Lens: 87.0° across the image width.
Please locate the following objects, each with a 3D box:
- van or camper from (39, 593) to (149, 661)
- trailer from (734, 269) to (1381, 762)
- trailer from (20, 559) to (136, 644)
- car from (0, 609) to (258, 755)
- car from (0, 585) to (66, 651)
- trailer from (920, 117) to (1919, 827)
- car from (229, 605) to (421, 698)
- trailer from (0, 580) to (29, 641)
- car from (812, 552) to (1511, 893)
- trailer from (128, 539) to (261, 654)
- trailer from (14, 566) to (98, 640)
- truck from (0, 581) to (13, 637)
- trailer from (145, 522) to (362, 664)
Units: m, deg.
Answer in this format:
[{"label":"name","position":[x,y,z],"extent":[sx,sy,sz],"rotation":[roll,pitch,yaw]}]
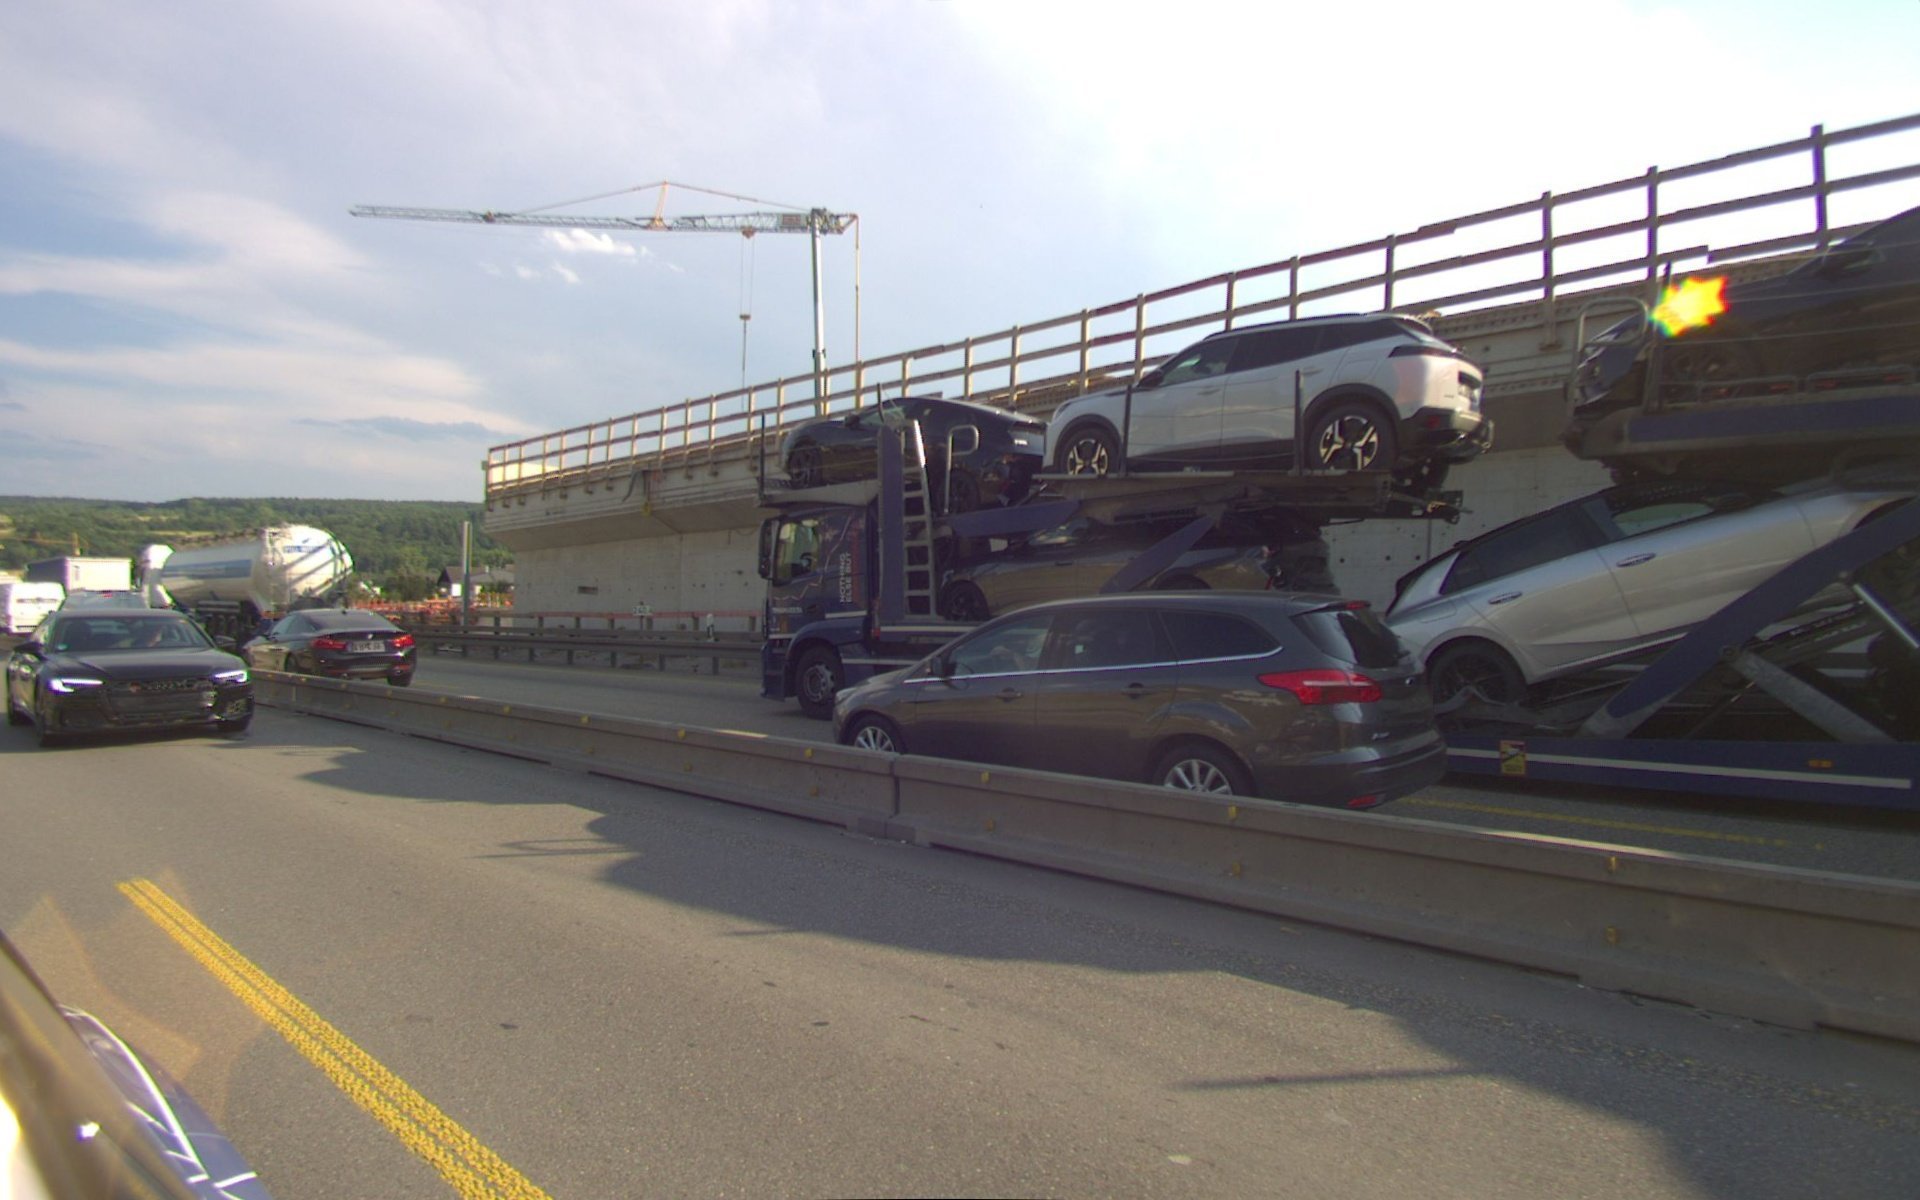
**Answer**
[{"label":"van or camper","position":[-27.968,0.826,32.603],"extent":[5.291,2.029,1.839],"rotation":[-1,0,40]},{"label":"trailer","position":[0.711,-0.684,11.743],"extent":[7.203,4.061,2.743],"rotation":[-1,0,41]},{"label":"trailer","position":[-47.355,0.118,54.103],"extent":[13.768,4.067,2.895],"rotation":[-1,0,41]},{"label":"car","position":[-10.098,0.831,12.045],"extent":[4.346,1.430,1.849],"rotation":[-1,-1,41]},{"label":"car","position":[-40.483,0.748,43.444],"extent":[7.403,2.642,1.974],"rotation":[-1,0,39]},{"label":"trailer","position":[6.435,-0.743,6.791],"extent":[15.753,4.061,2.743],"rotation":[-1,0,41]},{"label":"car","position":[-11.433,0.830,18.084],"extent":[4.598,1.456,1.691],"rotation":[-1,0,42]},{"label":"trailer","position":[-71.150,0.779,74.599],"extent":[8.731,4.315,2.798],"rotation":[-1,0,41]},{"label":"car","position":[1.092,0.581,6.816],"extent":[4.336,1.589,1.738],"rotation":[-1,0,41]},{"label":"trailer","position":[-28.132,-0.100,37.090],"extent":[6.426,3.879,2.625],"rotation":[-1,0,41]},{"label":"trailer","position":[-52.329,0.169,58.510],"extent":[6.220,4.067,2.895],"rotation":[-1,0,41]},{"label":"truck","position":[-78.225,0.728,80.779],"extent":[10.068,4.295,2.798],"rotation":[-1,0,41]},{"label":"trailer","position":[-23.398,-0.149,32.985],"extent":[13.436,3.879,2.625],"rotation":[-1,0,41]}]
